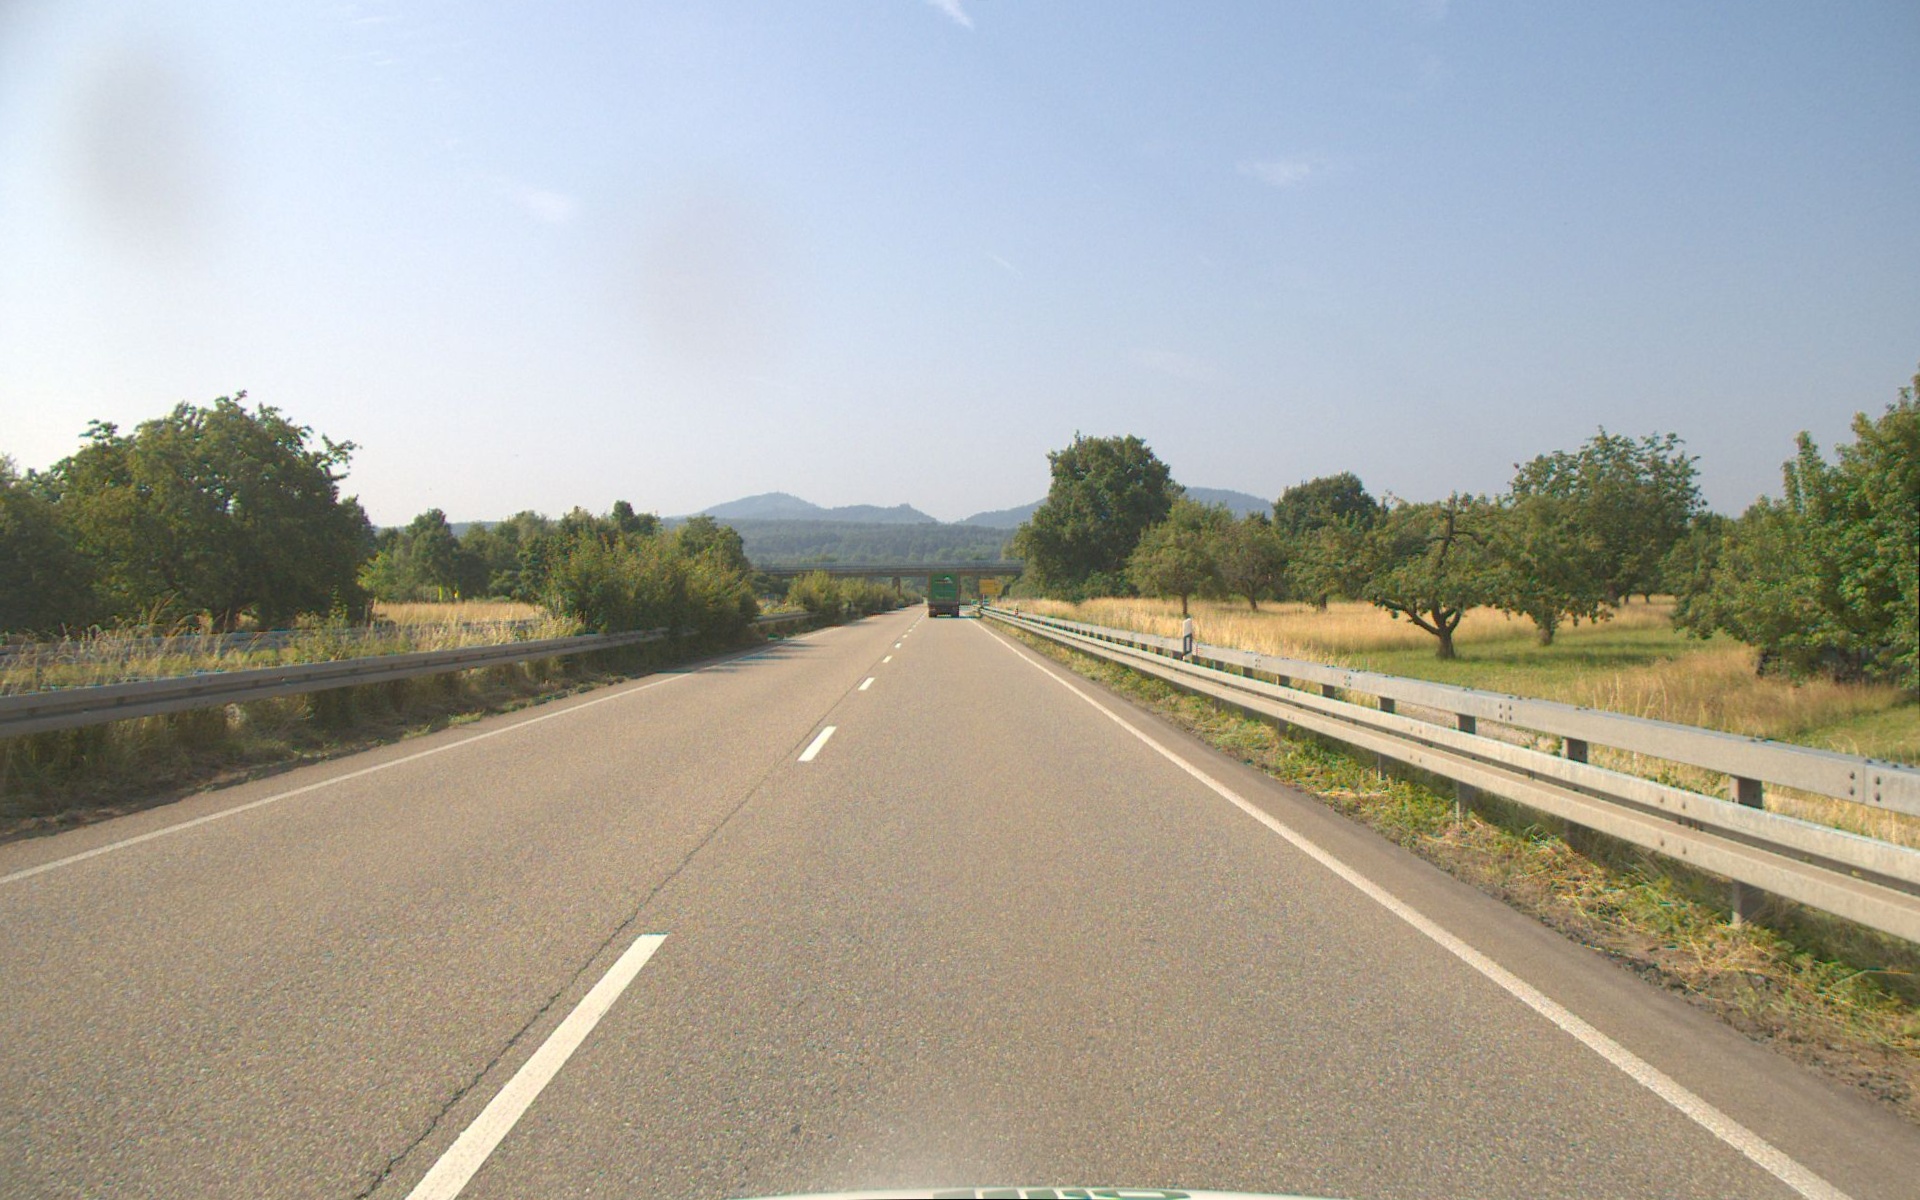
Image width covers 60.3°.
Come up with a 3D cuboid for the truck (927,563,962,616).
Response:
[{"bbox_3d":[-1.211,-0.934,134.228,2.666,4.034,10.416,1,1,0],"label":"truck"}]
